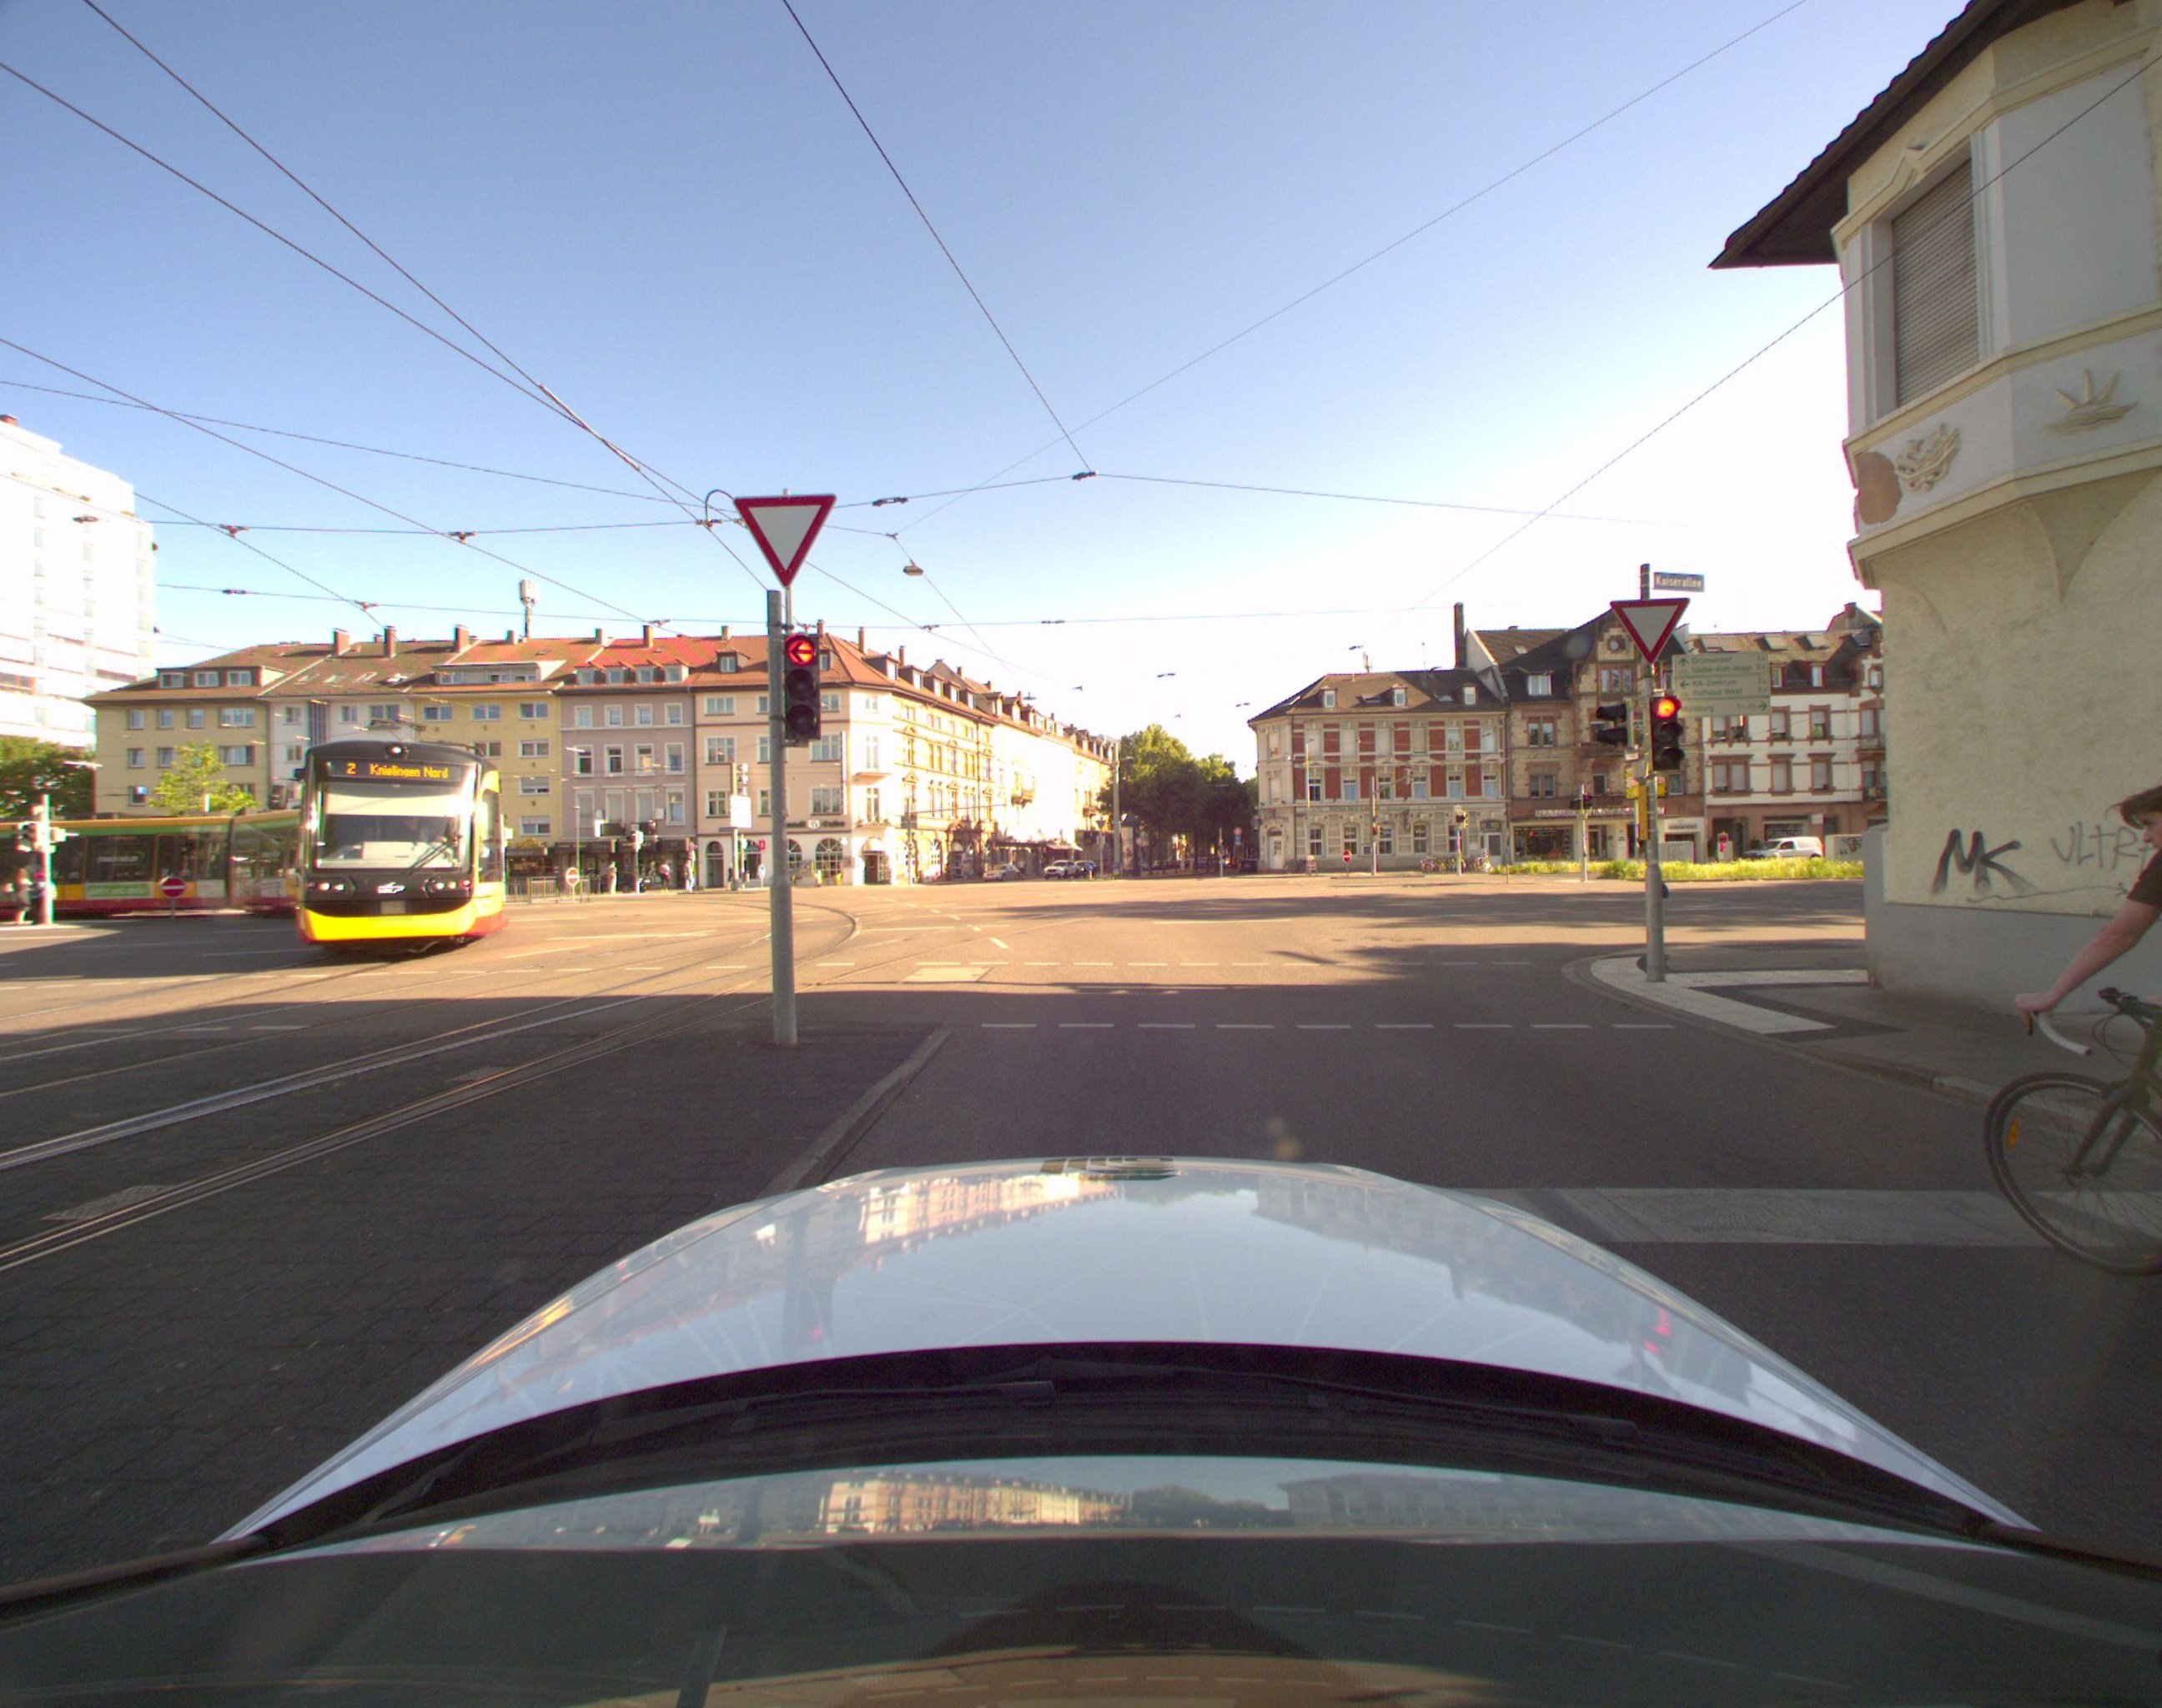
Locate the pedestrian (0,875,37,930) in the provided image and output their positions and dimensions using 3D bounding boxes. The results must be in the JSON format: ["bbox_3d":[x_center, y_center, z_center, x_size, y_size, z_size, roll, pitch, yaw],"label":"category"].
[{"bbox_3d":[-32.916,1.499,25.241,0.456,1.644,0.643,-1,1,38],"label":"pedestrian"}]

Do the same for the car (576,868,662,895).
[{"bbox_3d":[-30.361,1.790,53.638,4.347,1.711,2.308,0,-1,4],"label":"car"}]

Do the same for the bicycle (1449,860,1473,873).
[{"bbox_3d":[24.572,0.808,52.748,0.656,0.840,2.162,0,-1,3],"label":"bicycle"}]

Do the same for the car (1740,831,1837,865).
[{"bbox_3d":[45.447,-0.384,52.401,4.406,2.013,2.002,-1,0,4],"label":"car"}]

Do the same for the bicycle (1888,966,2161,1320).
[{"bbox_3d":[3.603,0.956,2.509,0.516,0.970,1.750,-1,0,2],"label":"bicycle"}]

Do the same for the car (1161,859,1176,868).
[{"bbox_3d":[14.039,1.502,130.609,1.664,1.354,3.608,-2,0,19],"label":"car"}]

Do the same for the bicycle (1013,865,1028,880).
[{"bbox_3d":[-4.890,1.484,65.535,0.696,1.118,1.642,-1,-1,16],"label":"bicycle"}]

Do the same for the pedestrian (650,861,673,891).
[{"bbox_3d":[-22.555,1.173,43.814,0.720,1.577,0.836,-1,-1,11],"label":"pedestrian"}]

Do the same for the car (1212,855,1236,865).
[{"bbox_3d":[23.361,0.965,133.154,3.549,1.648,1.691,-2,0,19],"label":"car"}]

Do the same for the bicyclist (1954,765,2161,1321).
[{"bbox_3d":[3.579,0.575,2.501,0.570,1.701,1.117,-1,0,2],"label":"bicyclist"}]

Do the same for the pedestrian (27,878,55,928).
[{"bbox_3d":[-31.911,1.499,24.992,0.456,1.505,0.485,-1,1,38],"label":"pedestrian"}]

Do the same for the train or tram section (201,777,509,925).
[{"bbox_3d":[-22.795,0.048,25.192,12.657,3.814,2.960,-1,0,29],"label":"train or tram section"}]

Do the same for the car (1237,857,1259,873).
[{"bbox_3d":[16.909,1.096,82.334,1.664,1.483,3.967,-2,0,19],"label":"car"}]

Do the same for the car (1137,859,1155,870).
[{"bbox_3d":[9.179,1.492,115.447,1.664,1.354,3.608,-2,0,19],"label":"car"}]

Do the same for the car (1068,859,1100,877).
[{"bbox_3d":[0.312,1.241,73.770,1.664,1.483,3.967,-2,0,19],"label":"car"}]

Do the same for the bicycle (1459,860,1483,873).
[{"bbox_3d":[25.209,0.803,52.702,0.656,0.840,2.162,0,-1,3],"label":"bicycle"}]

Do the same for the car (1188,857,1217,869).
[{"bbox_3d":[17.210,1.256,115.455,3.870,1.648,1.691,-2,0,19],"label":"car"}]

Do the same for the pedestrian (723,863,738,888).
[{"bbox_3d":[-22.836,1.394,53.051,0.580,1.670,0.753,0,-1,2],"label":"pedestrian"}]

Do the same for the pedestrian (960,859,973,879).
[{"bbox_3d":[-9.634,1.296,68.514,0.770,1.670,0.834,-1,-1,17],"label":"pedestrian"}]

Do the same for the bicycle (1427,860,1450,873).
[{"bbox_3d":[23.165,0.818,52.755,0.656,0.840,2.162,0,-1,3],"label":"bicycle"}]

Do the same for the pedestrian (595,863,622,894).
[{"bbox_3d":[-24.712,1.288,42.587,0.842,1.577,0.836,-1,-1,11],"label":"pedestrian"}]

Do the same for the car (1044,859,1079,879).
[{"bbox_3d":[-1.600,1.214,67.511,1.664,1.483,3.789,-2,0,19],"label":"car"}]

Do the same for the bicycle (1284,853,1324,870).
[{"bbox_3d":[15.608,0.499,57.059,2.547,1.174,0.818,0,-1,-1],"label":"bicycle"}]

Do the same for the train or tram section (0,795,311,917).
[{"bbox_3d":[-33.846,0.154,28.371,12.020,3.814,2.946,-1,0,6],"label":"train or tram section"}]

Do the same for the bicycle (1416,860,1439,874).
[{"bbox_3d":[22.430,0.823,52.697,0.656,0.840,2.162,0,-1,3],"label":"bicycle"}]

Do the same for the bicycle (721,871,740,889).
[{"bbox_3d":[-22.833,1.686,53.037,0.570,1.077,1.497,0,-1,2],"label":"bicycle"}]

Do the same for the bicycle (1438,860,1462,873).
[{"bbox_3d":[23.889,0.813,52.741,0.656,0.840,2.162,0,-1,3],"label":"bicycle"}]

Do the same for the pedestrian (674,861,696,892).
[{"bbox_3d":[-20.023,1.133,41.219,0.545,1.577,0.838,-1,-1,29],"label":"pedestrian"}]

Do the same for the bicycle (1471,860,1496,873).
[{"bbox_3d":[26.013,0.797,52.717,0.656,0.840,2.162,0,-1,3],"label":"bicycle"}]

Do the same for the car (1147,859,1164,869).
[{"bbox_3d":[11.249,1.525,122.363,1.664,1.354,3.608,-2,0,19],"label":"car"}]

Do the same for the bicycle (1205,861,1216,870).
[{"bbox_3d":[15.775,1.391,99.280,0.636,1.021,1.839,0,-1,-12],"label":"bicycle"}]

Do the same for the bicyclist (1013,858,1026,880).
[{"bbox_3d":[-4.936,1.209,65.415,0.772,1.803,1.060,-1,-1,16],"label":"bicyclist"}]

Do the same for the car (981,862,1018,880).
[{"bbox_3d":[-6.705,1.424,67.226,1.664,1.354,3.608,-2,0,19],"label":"car"}]

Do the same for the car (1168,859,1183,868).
[{"bbox_3d":[15.726,1.521,135.602,1.664,1.354,3.608,-2,0,19],"label":"car"}]

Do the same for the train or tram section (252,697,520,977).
[{"bbox_3d":[-13.998,-0.159,17.117,2.955,3.814,12.906,-1,0,-37],"label":"train or tram section"}]

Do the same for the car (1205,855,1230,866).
[{"bbox_3d":[21.455,1.058,127.721,3.549,1.648,1.691,-2,0,19],"label":"car"}]
